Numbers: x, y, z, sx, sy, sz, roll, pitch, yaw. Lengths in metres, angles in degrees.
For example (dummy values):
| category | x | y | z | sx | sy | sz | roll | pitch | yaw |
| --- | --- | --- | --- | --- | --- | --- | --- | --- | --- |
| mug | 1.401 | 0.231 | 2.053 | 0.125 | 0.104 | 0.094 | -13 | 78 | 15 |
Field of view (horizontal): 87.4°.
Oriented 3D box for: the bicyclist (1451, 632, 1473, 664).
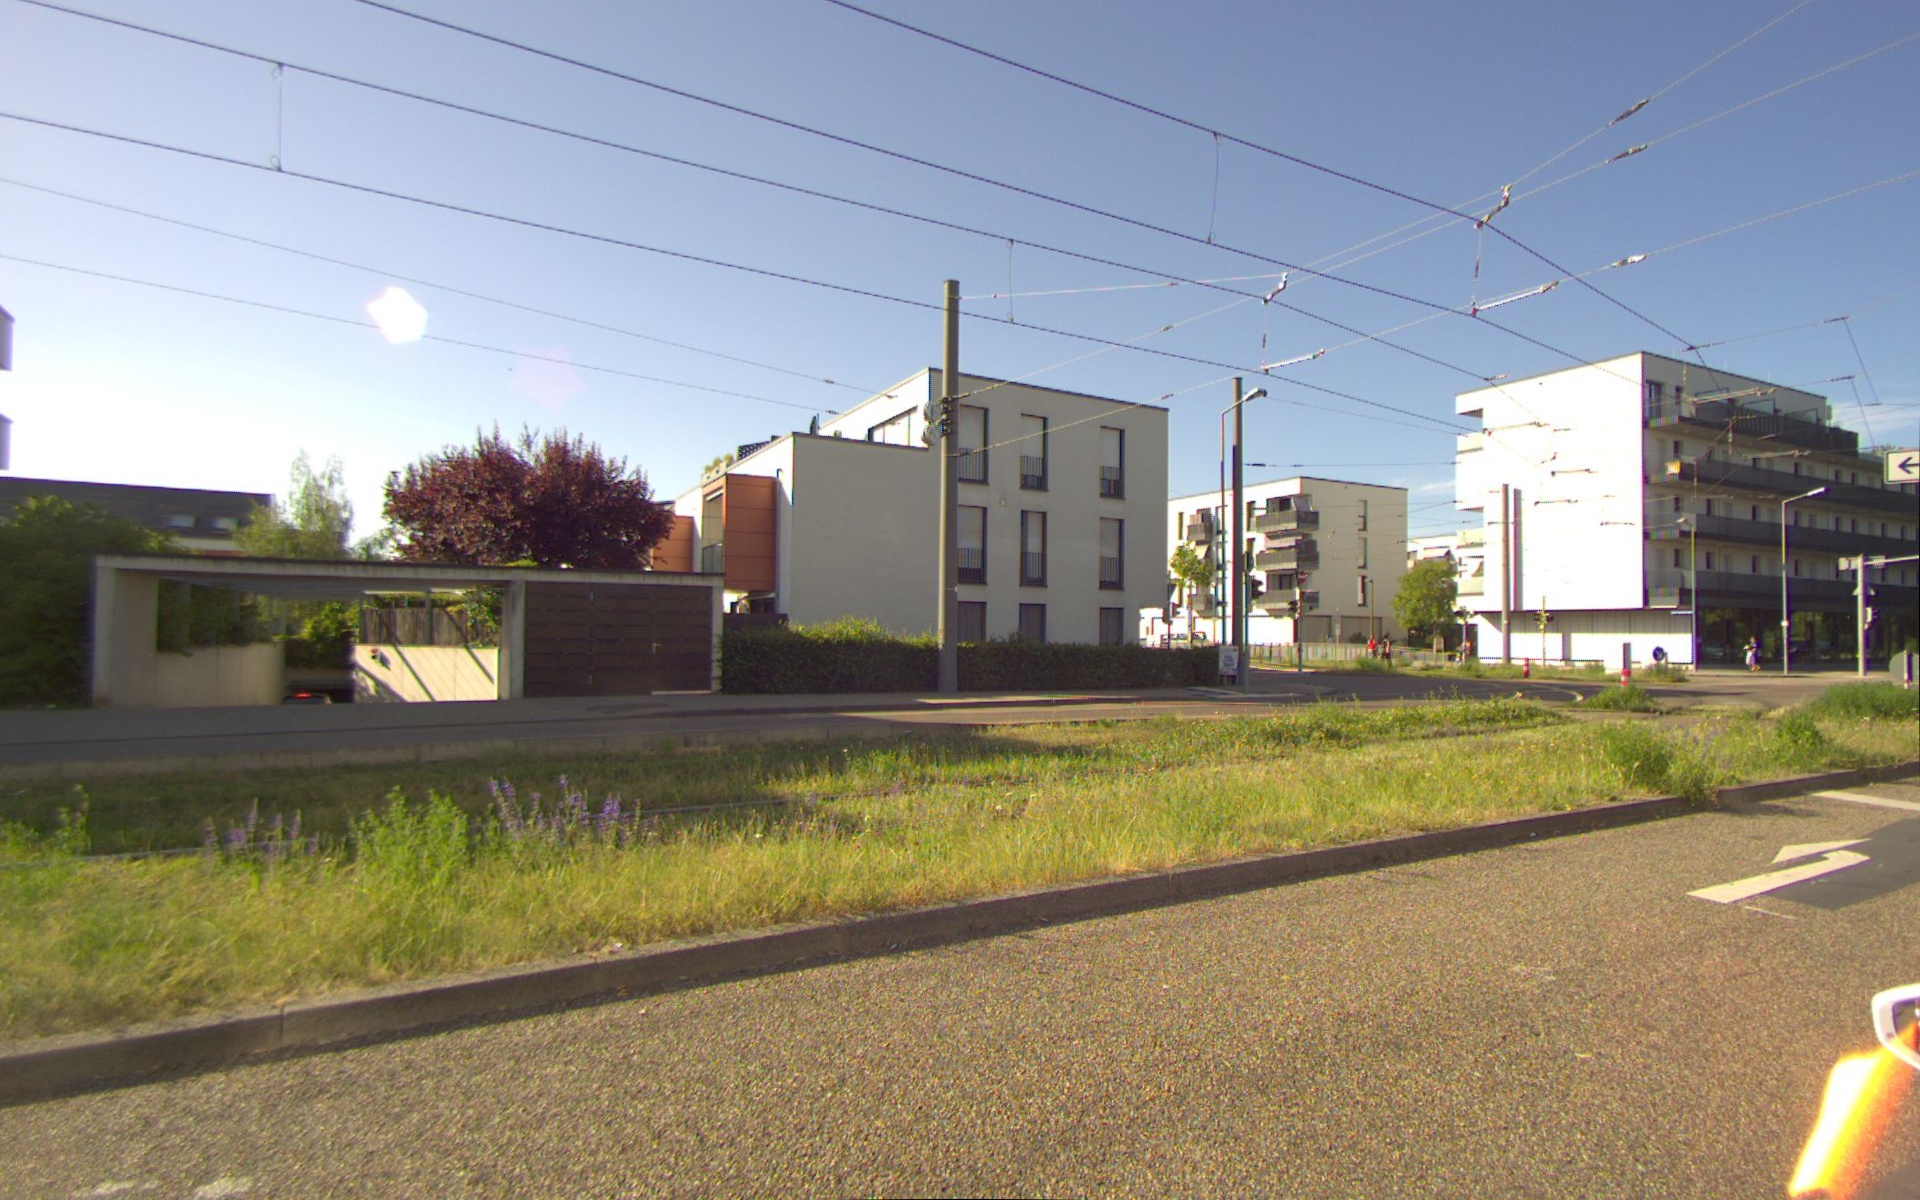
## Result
| category | x | y | z | sx | sy | sz | roll | pitch | yaw |
| --- | --- | --- | --- | --- | --- | --- | --- | --- | --- |
| bicyclist | 26.101 | 2.504 | 52.195 | 0.630 | 1.635 | 0.783 | 2 | 0 | -13 |

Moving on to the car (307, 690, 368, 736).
| category | x | y | z | sx | sy | sz | roll | pitch | yaw |
| --- | --- | --- | --- | --- | --- | --- | --- | --- | --- |
| car | -19.869 | 3.619 | 32.121 | 1.559 | 1.344 | 3.969 | 1 | -7 | -31 |

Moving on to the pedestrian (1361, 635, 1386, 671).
| category | x | y | z | sx | sy | sz | roll | pitch | yaw |
| --- | --- | --- | --- | --- | --- | --- | --- | --- | --- |
| pedestrian | 19.255 | 2.469 | 46.817 | 0.736 | 1.626 | 0.766 | 2 | 0 | -36 |

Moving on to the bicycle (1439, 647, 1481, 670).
| category | x | y | z | sx | sy | sz | roll | pitch | yaw |
| --- | --- | --- | --- | --- | --- | --- | --- | --- | --- |
| bicycle | 25.957 | 3.039 | 52.169 | 1.829 | 1.139 | 0.820 | 2 | 0 | -13 |

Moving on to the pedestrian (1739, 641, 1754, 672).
| category | x | y | z | sx | sy | sz | roll | pitch | yaw |
| --- | --- | --- | --- | --- | --- | --- | --- | --- | --- |
| pedestrian | 39.102 | 2.793 | 49.940 | 0.513 | 1.523 | 0.438 | 2 | 0 | -35 |

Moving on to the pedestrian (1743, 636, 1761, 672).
| category | x | y | z | sx | sy | sz | roll | pitch | yaw |
| --- | --- | --- | --- | --- | --- | --- | --- | --- | --- |
| pedestrian | 39.588 | 2.683 | 50.206 | 0.513 | 1.767 | 0.539 | 2 | 0 | -35 |

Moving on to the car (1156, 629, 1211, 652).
| category | x | y | z | sx | sy | sz | roll | pitch | yaw |
| --- | --- | --- | --- | --- | --- | --- | --- | --- | --- |
| car | 17.826 | 3.197 | 80.218 | 1.974 | 1.595 | 4.309 | 2 | 0 | -27 |

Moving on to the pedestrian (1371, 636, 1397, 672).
| category | x | y | z | sx | sy | sz | roll | pitch | yaw |
| --- | --- | --- | --- | --- | --- | --- | --- | --- | --- |
| pedestrian | 19.458 | 2.471 | 46.101 | 0.736 | 1.626 | 0.766 | 2 | 0 | -36 |
